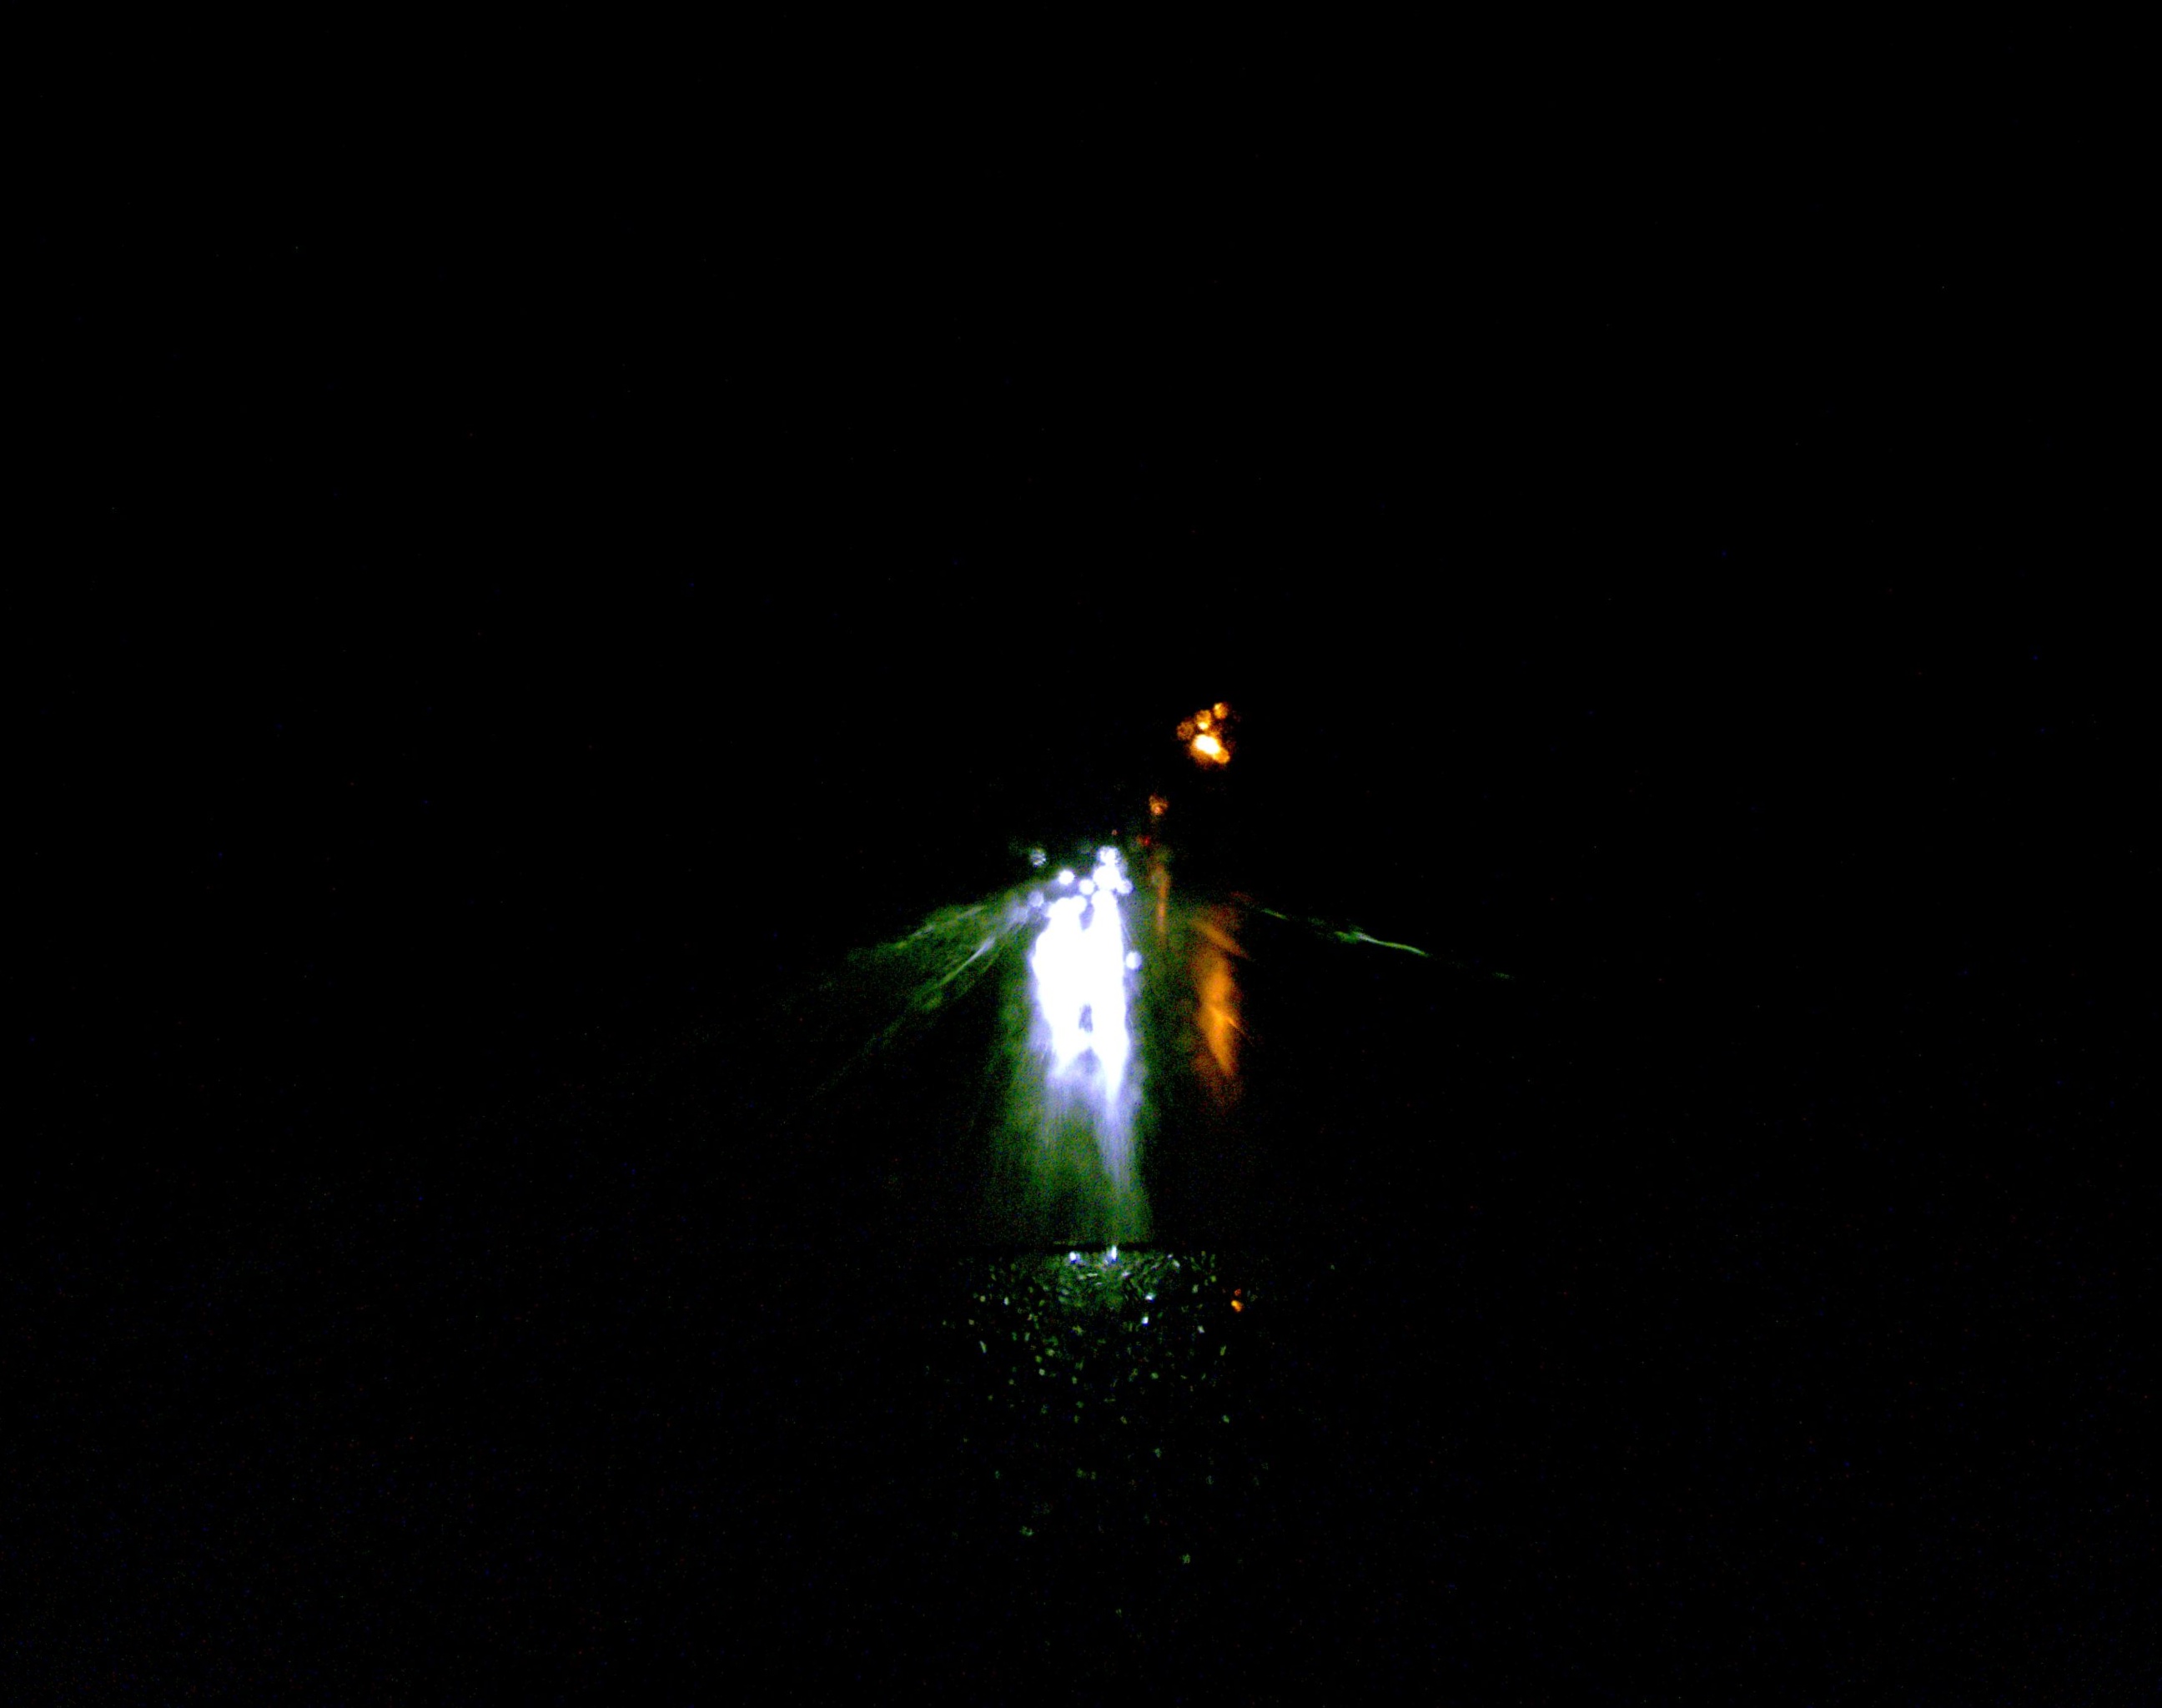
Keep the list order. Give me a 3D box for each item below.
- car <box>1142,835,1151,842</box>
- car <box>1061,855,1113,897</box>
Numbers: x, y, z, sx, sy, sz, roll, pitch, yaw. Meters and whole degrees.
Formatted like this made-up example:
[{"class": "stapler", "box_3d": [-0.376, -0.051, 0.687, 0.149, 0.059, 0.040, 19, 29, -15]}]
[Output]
[{"class": "car", "box_3d": [15.316, -3.640, 176.914, 1.919, 1.467, 4.203, -2, 2, 6]}, {"class": "car", "box_3d": [0.302, 0.888, 32.026, 1.944, 1.580, 4.776, -3, -1, 2]}]
